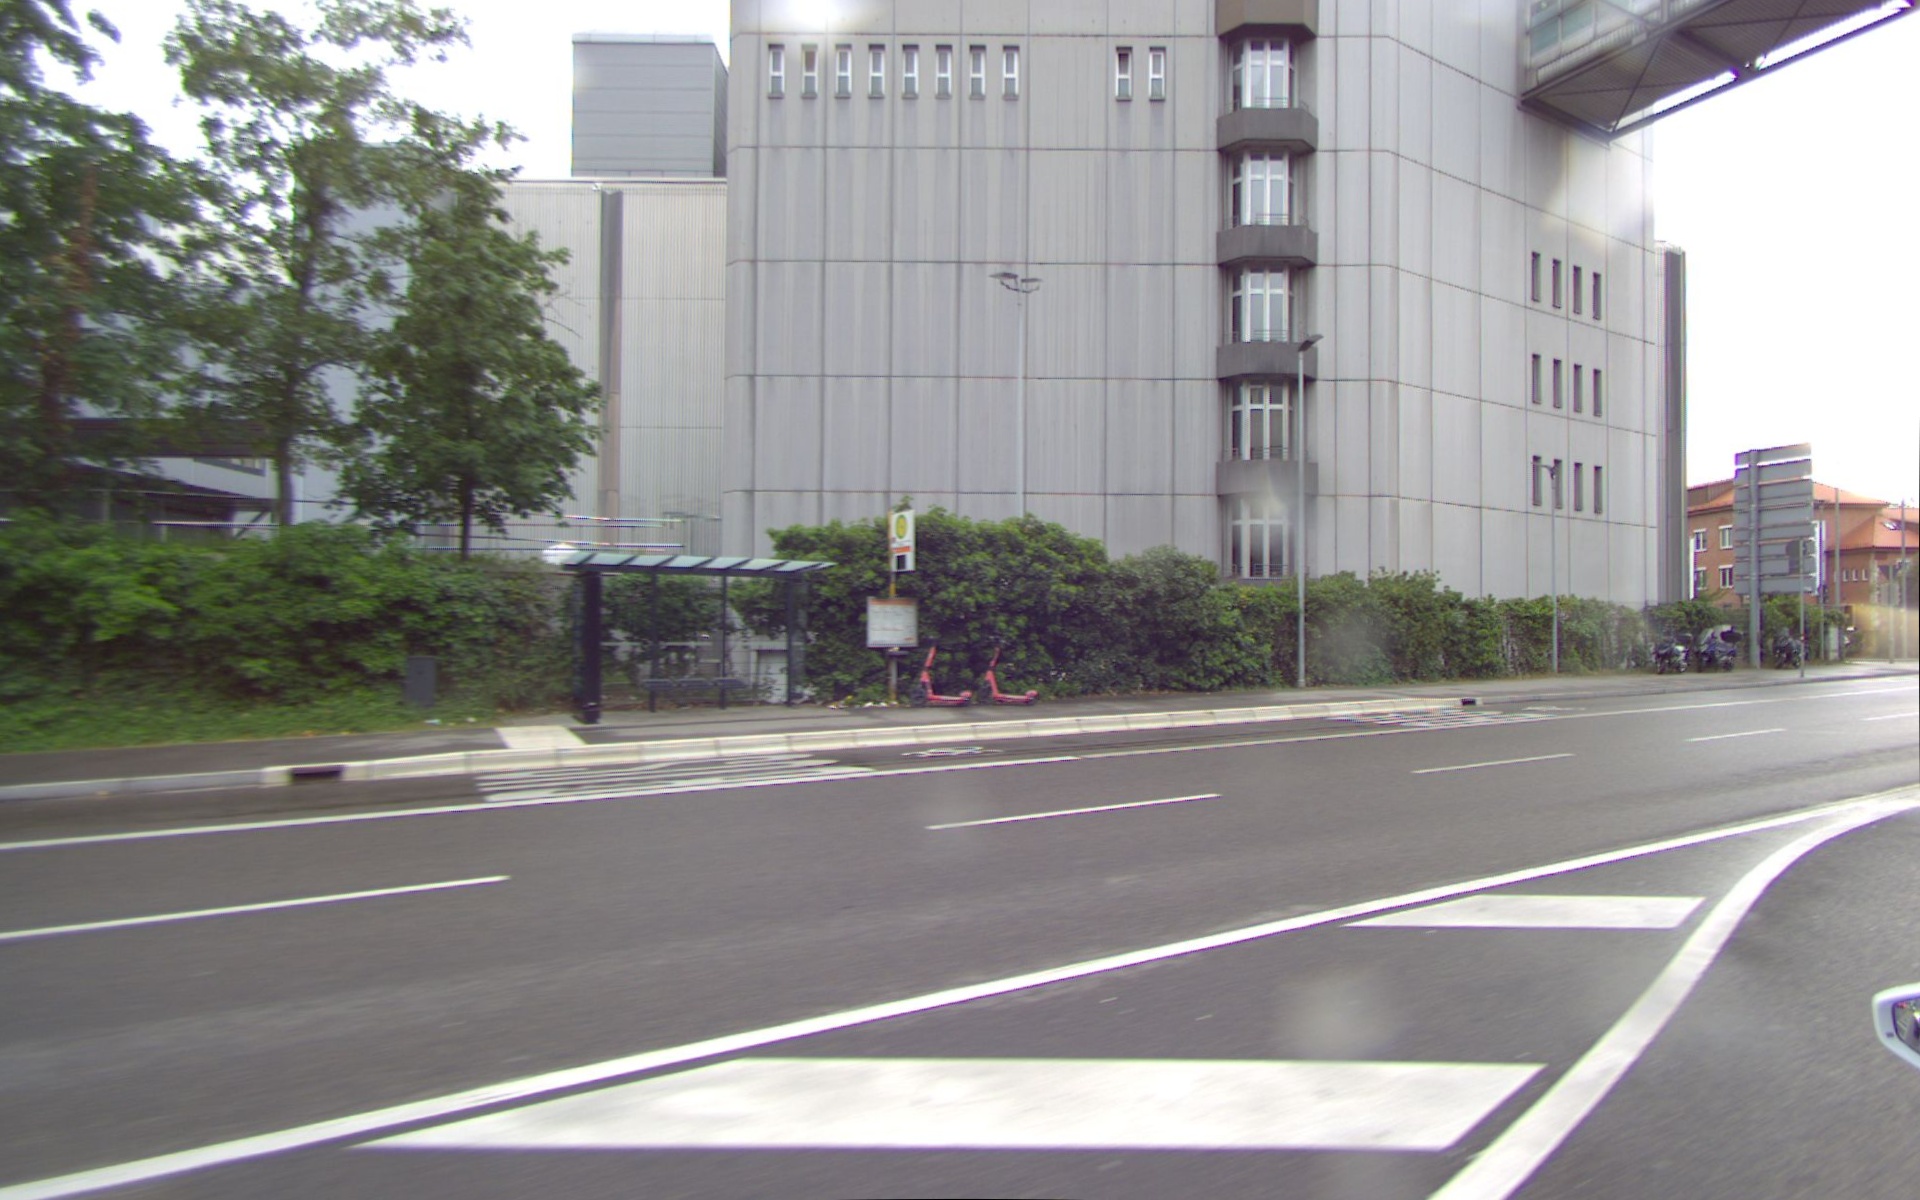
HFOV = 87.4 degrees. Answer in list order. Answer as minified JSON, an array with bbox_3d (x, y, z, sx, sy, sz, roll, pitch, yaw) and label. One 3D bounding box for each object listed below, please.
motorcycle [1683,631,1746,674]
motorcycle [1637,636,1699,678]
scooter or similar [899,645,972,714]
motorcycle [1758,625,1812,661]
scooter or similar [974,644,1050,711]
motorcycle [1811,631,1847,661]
[{"bbox_3d":[24.573,1.681,32.704,2.342,1.365,0.781,1,-2,-30],"label":"motorcycle"},{"bbox_3d":[22.210,1.771,31.509,2.132,1.267,0.781,1,-2,-30],"label":"motorcycle"},{"bbox_3d":[-0.434,1.401,17.863,1.230,1.196,0.388,1,-1,-17],"label":"scooter or similar"},{"bbox_3d":[29.306,1.516,35.660,2.132,1.263,0.781,1,-2,-30],"label":"motorcycle"},{"bbox_3d":[0.959,1.419,18.498,1.355,1.196,0.378,1,-1,-17],"label":"scooter or similar"},{"bbox_3d":[37.791,1.993,43.689,0.759,1.234,2.503,-1,-2,31],"label":"motorcycle"}]
